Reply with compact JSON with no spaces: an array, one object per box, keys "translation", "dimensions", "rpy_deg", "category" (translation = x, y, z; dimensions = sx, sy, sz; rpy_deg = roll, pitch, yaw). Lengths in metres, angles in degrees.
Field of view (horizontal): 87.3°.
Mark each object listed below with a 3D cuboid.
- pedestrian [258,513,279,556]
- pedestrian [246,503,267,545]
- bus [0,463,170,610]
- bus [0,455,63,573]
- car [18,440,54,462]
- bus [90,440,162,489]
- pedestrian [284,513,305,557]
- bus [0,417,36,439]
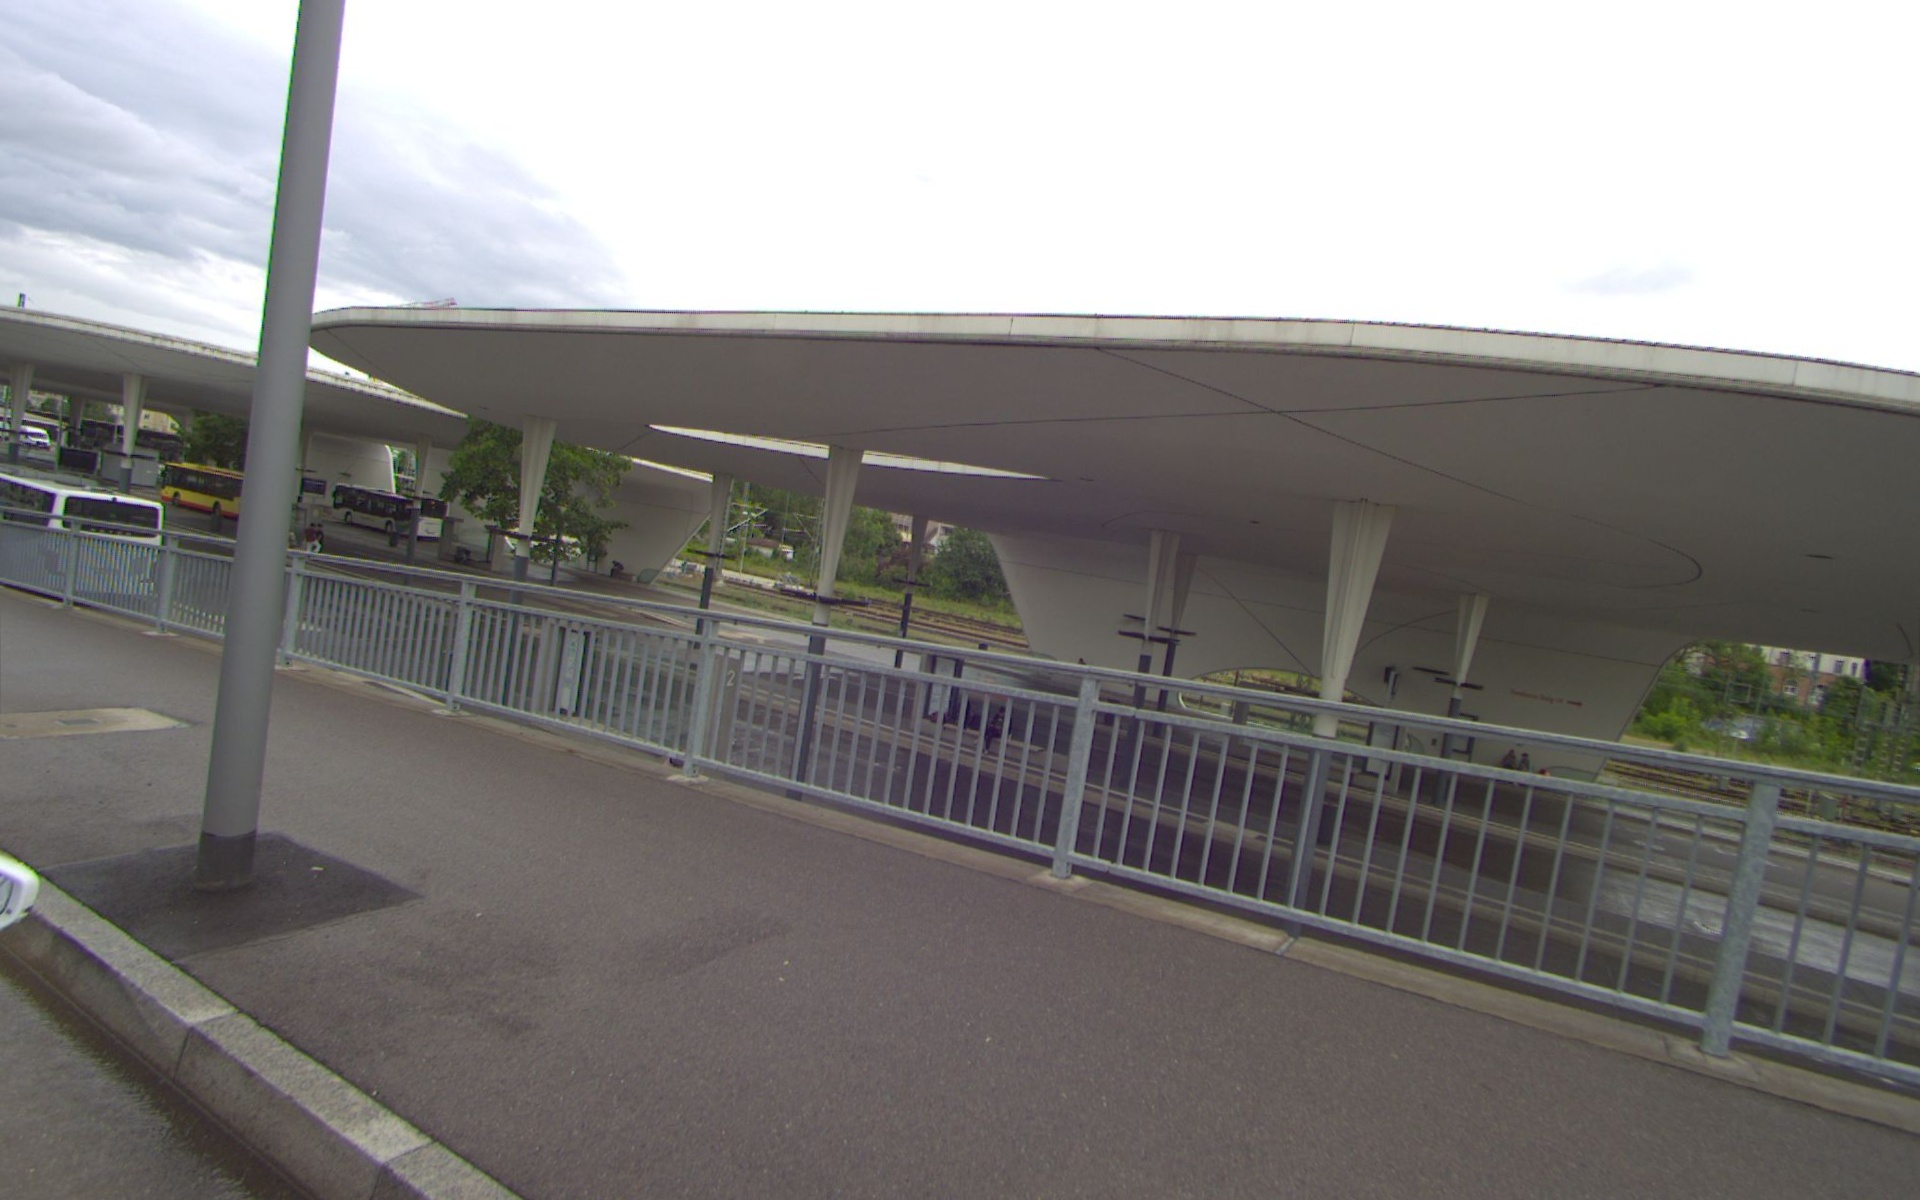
[{"translation":[-34.320,-3.235,49.935],"dimensions":[0.570,2.040,0.544],"rpy_deg":[8,2,33],"category":"pedestrian"},{"translation":[-35.469,-3.837,50.744],"dimensions":[0.570,2.040,0.544],"rpy_deg":[8,2,33],"category":"pedestrian"},{"translation":[-26.697,-1.988,29.667],"dimensions":[6.948,3.279,2.649],"rpy_deg":[12,4,28],"category":"bus"},{"translation":[-32.755,-3.178,32.994],"dimensions":[6.948,3.279,2.649],"rpy_deg":[12,4,28],"category":"bus"},{"translation":[-108.616,-17.510,118.230],"dimensions":[3.933,2.040,1.995],"rpy_deg":[9,2,32],"category":"car"},{"translation":[-69.220,-11.239,83.457],"dimensions":[6.880,3.252,2.601],"rpy_deg":[9,3,34],"category":"bus"},{"translation":[-32.125,-3.158,48.569],"dimensions":[0.475,2.040,0.560],"rpy_deg":[8,2,34],"category":"pedestrian"},{"translation":[-119.632,-21.656,122.562],"dimensions":[2.132,2.039,10.183],"rpy_deg":[8,1,29],"category":"bus"}]
